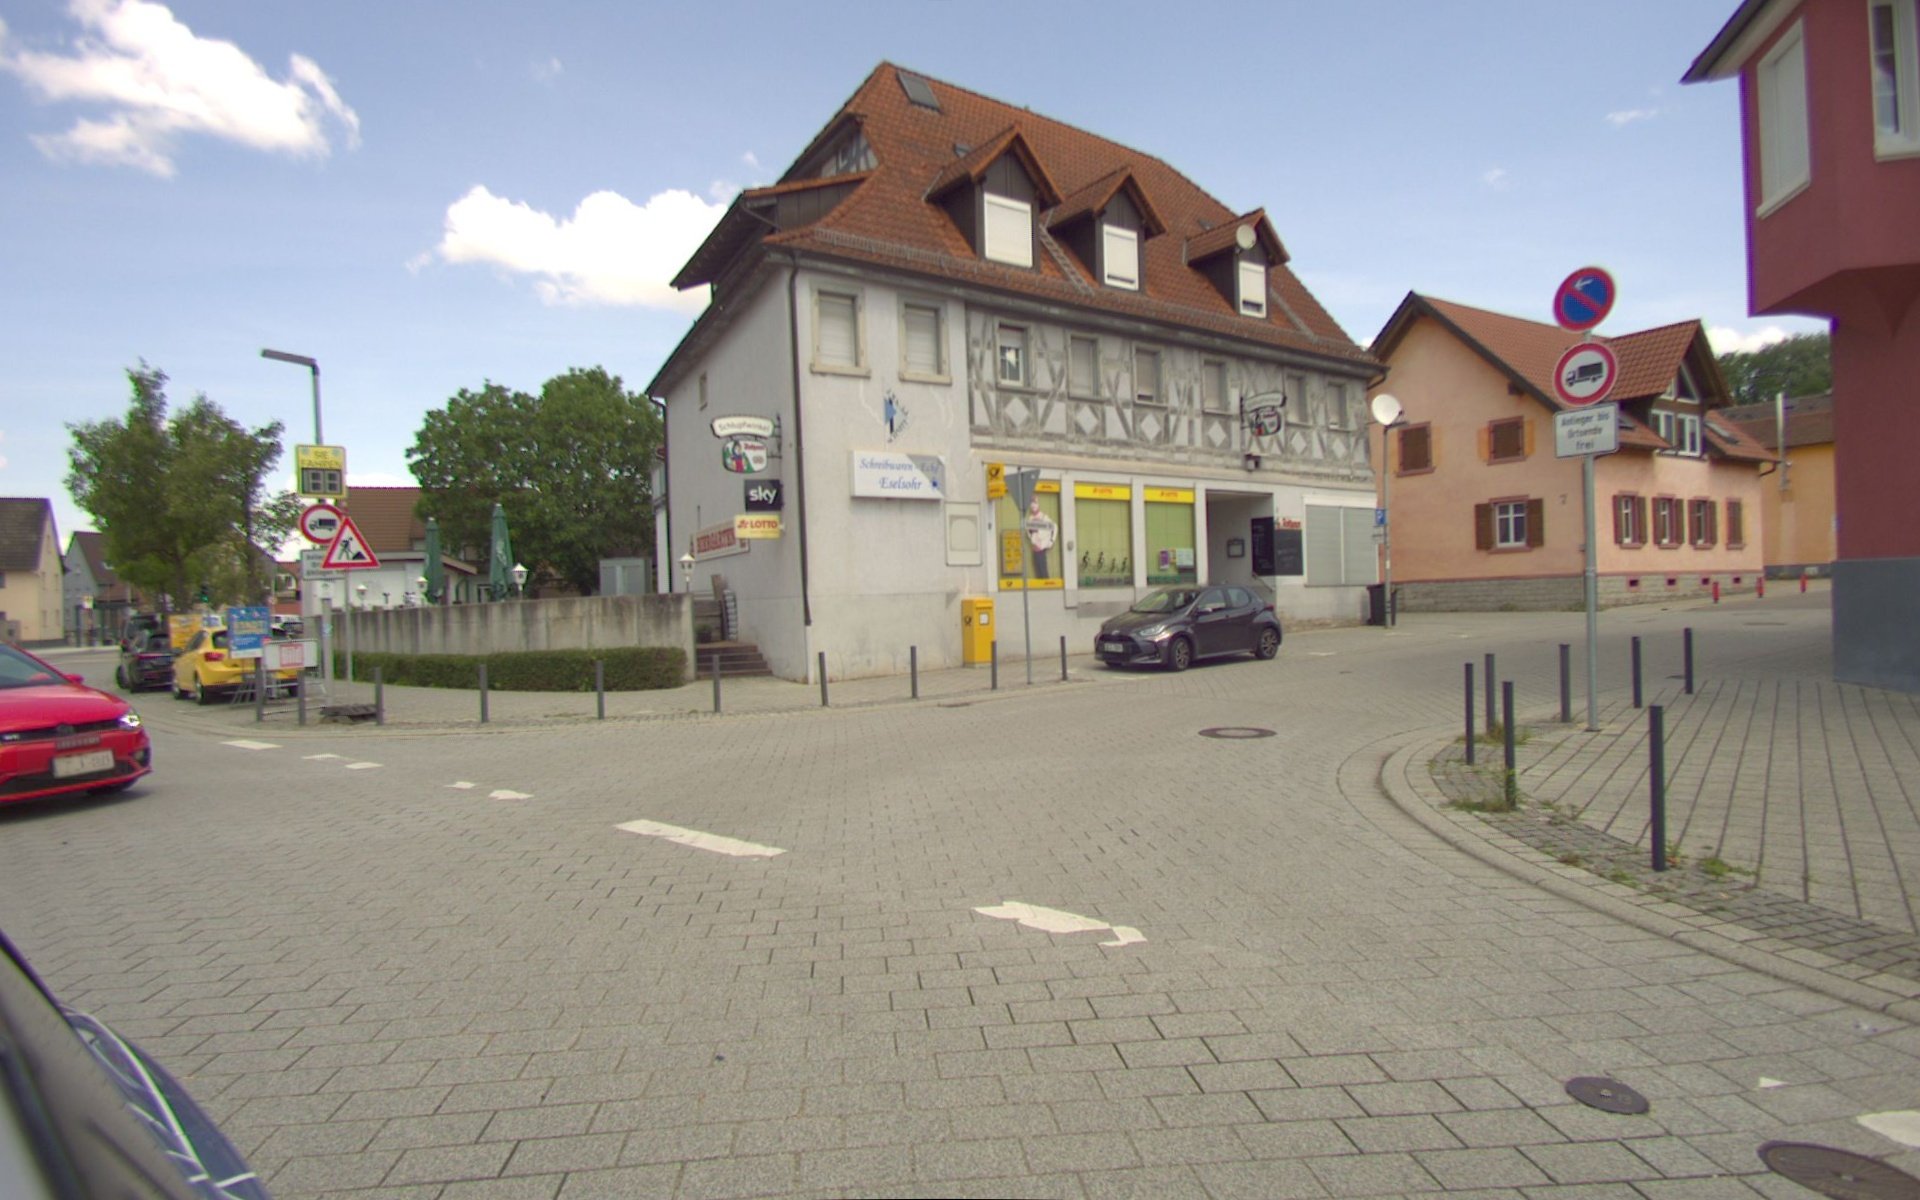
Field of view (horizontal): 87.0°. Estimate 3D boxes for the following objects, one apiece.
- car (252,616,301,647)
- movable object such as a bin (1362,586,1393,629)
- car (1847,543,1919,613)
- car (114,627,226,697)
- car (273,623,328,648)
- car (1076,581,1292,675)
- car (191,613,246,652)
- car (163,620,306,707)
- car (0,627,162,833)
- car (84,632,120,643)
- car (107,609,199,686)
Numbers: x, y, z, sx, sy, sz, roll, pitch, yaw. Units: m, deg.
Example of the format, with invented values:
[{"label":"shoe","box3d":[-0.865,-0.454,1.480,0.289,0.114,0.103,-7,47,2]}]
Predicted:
[{"label":"car","box3d":[-47.259,2.162,70.045,1.636,2.029,4.012,-1,-1,-17]},{"label":"movable object such as a bin","box3d":[11.065,0.196,26.808,0.486,1.125,0.586,0,-1,-37]},{"label":"car","box3d":[22.324,-0.518,23.446,3.410,1.529,1.990,-2,0,-37]},{"label":"car","box3d":[-18.944,1.418,24.195,1.794,1.434,4.543,-1,-1,-42]},{"label":"car","box3d":[-42.289,2.255,64.976,1.709,1.502,4.513,-1,0,-16]},{"label":"car","box3d":[4.197,0.465,18.727,3.890,1.529,1.777,-2,0,-37]},{"label":"car","box3d":[-43.892,1.907,60.029,1.861,2.202,5.046,-1,-1,-27]},{"label":"car","box3d":[-14.245,1.191,19.790,1.649,1.486,3.965,-1,-1,-45]},{"label":"car","box3d":[-8.527,0.980,8.052,3.861,1.422,1.770,-2,0,23]},{"label":"car","box3d":[-94.042,4.132,110.872,3.984,1.068,1.785,-2,-1,30]},{"label":"car","box3d":[-23.795,1.352,29.863,1.961,2.005,5.053,-1,-1,-39]}]
